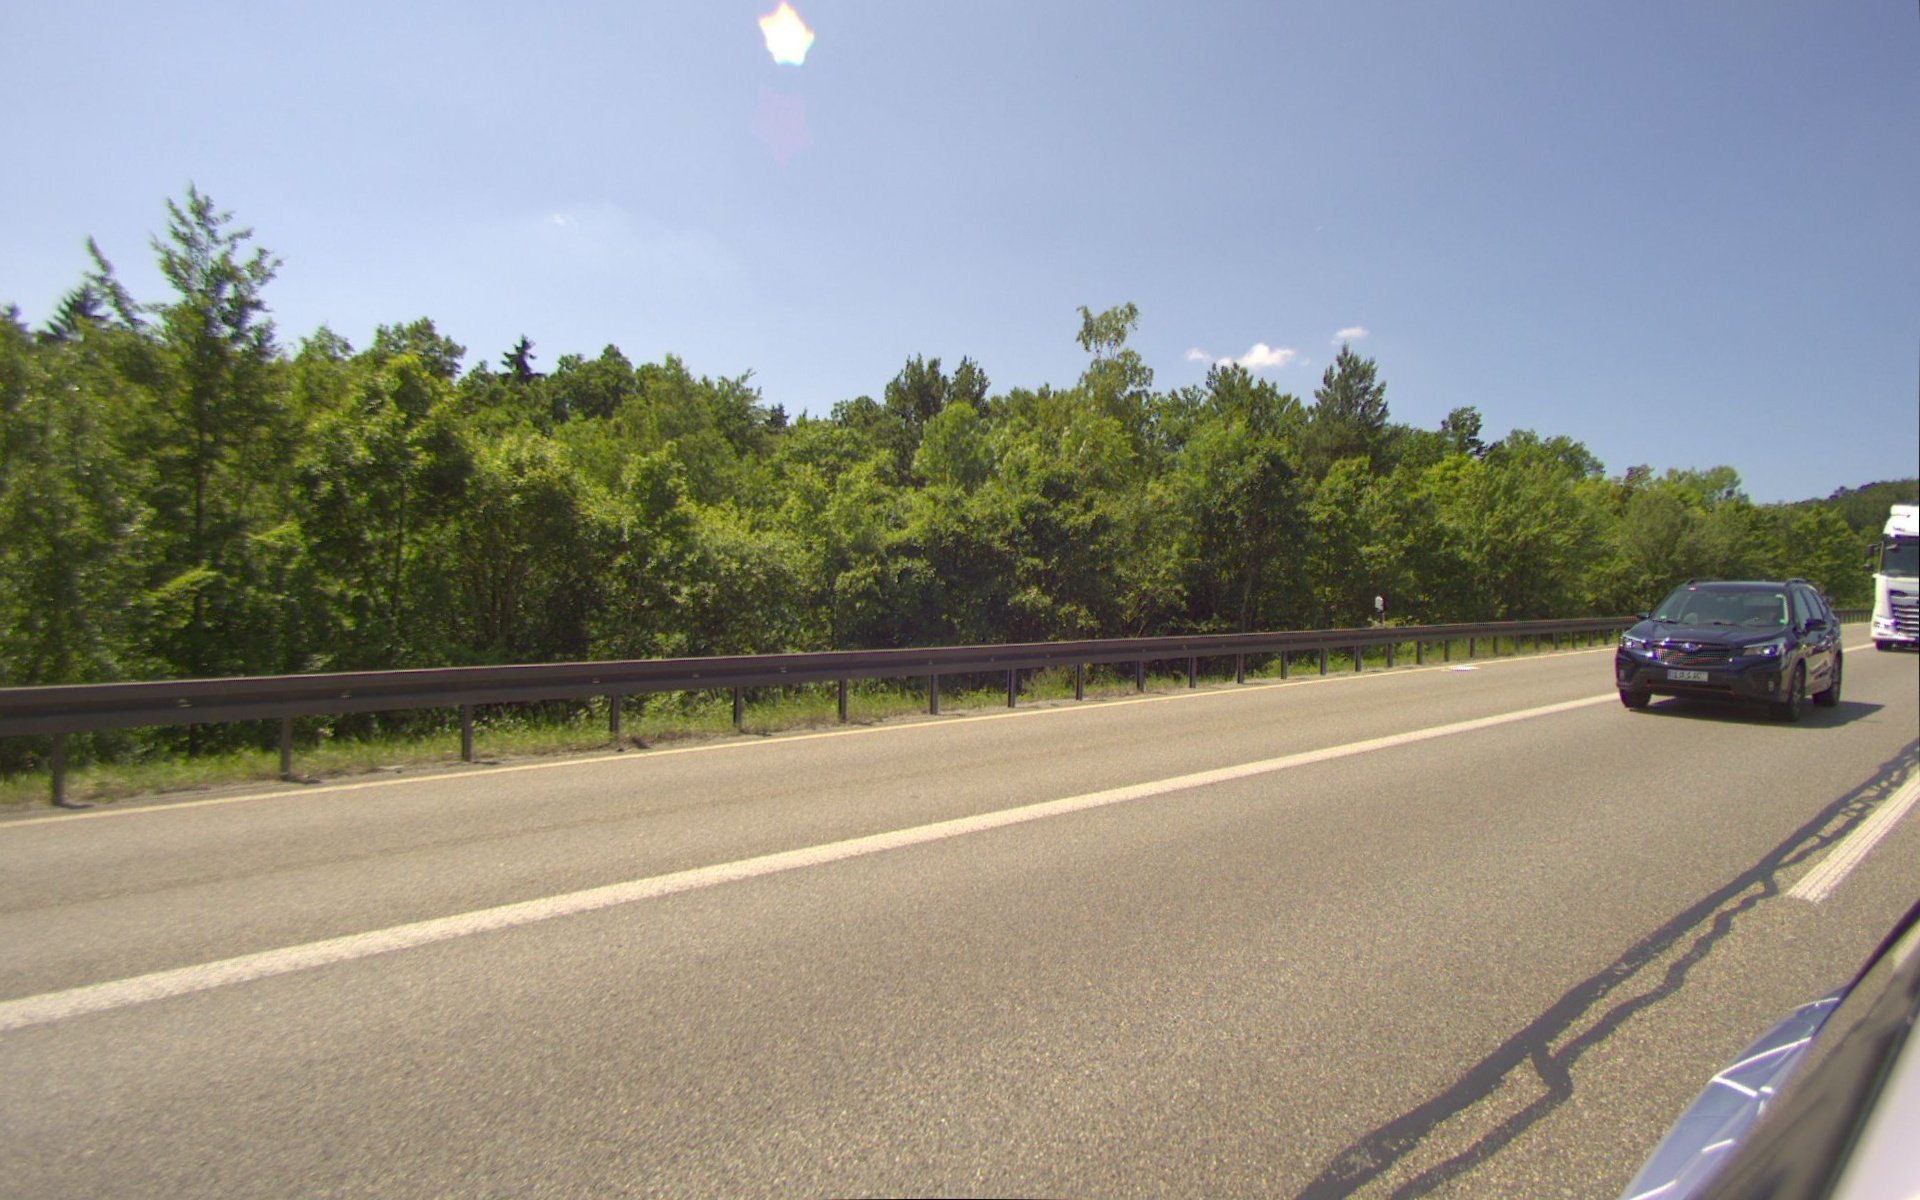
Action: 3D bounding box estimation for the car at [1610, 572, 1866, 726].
[{"bbox_3d":[10.359,0.505,13.371,4.129,1.688,1.816,-1,3,-40],"label":"car"}]

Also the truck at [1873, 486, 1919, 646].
[{"bbox_3d":[31.666,-0.888,31.434,15.980,4.220,2.789,0,2,-41],"label":"truck"}]
